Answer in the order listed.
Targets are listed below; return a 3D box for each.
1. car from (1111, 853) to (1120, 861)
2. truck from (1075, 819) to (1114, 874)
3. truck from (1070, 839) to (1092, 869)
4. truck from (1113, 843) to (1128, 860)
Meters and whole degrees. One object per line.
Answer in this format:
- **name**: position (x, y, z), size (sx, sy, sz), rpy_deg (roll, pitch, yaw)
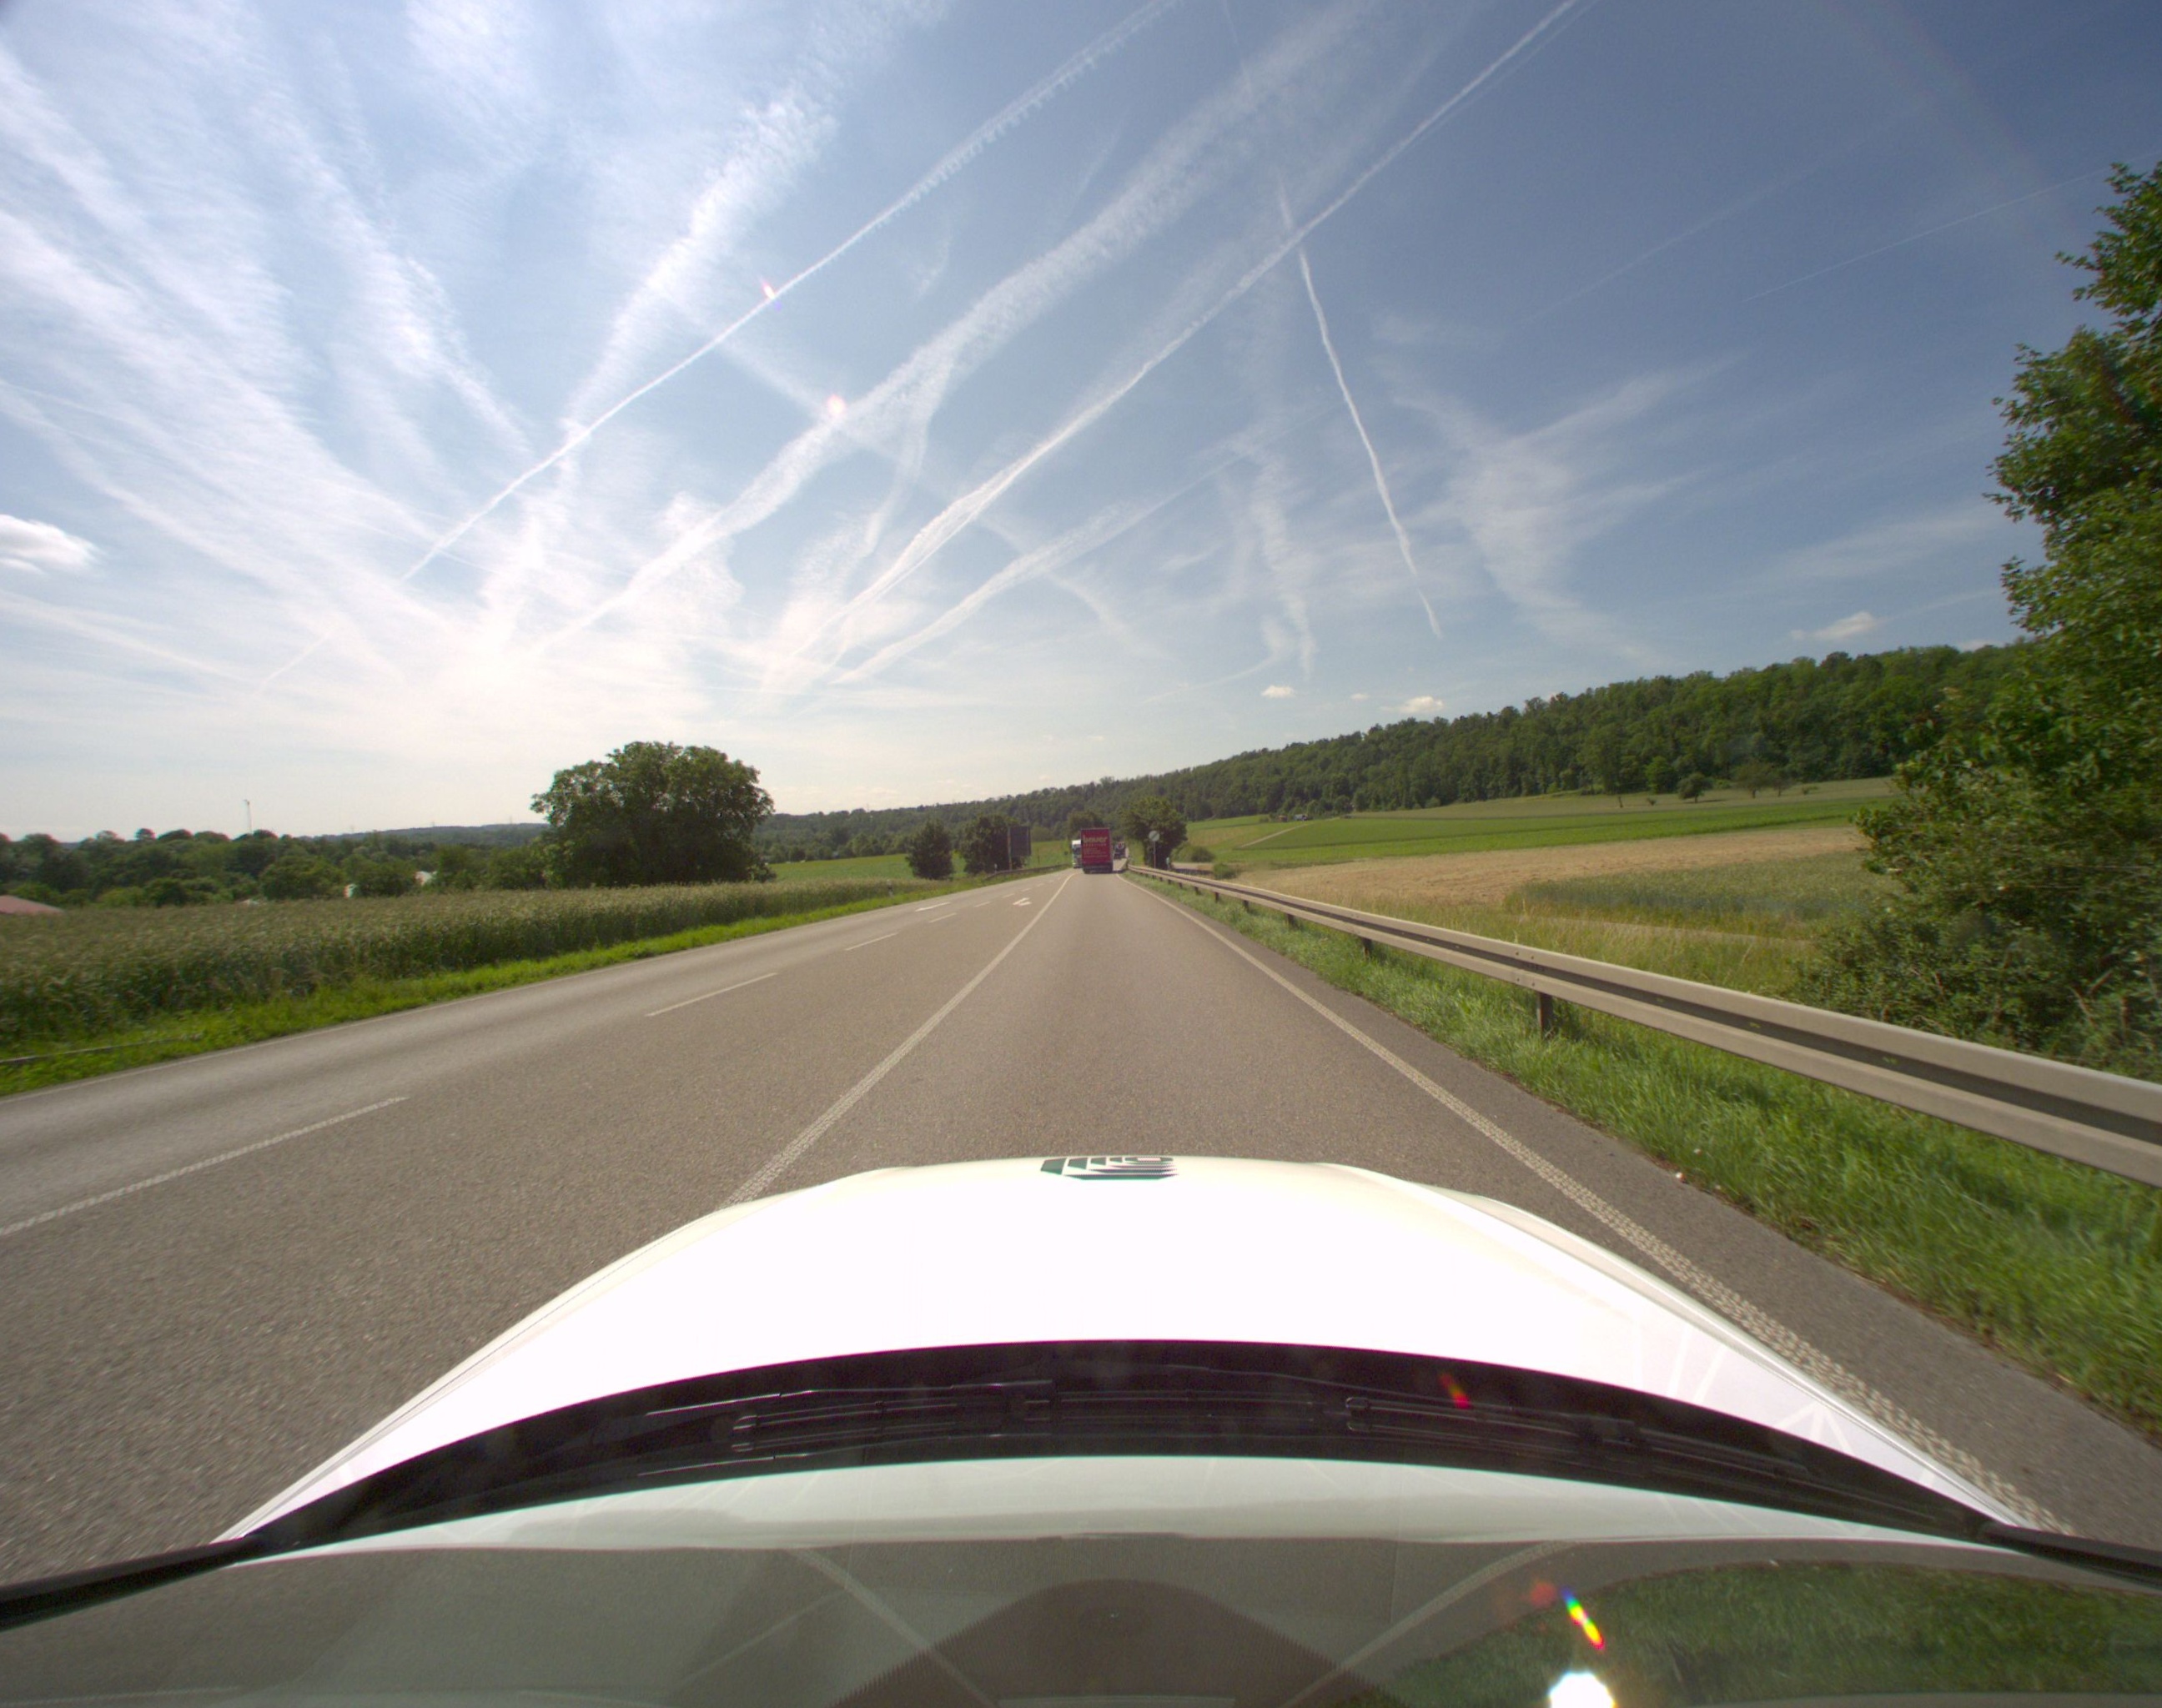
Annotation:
- **car**: position (7.909, 0.786, 186.373), size (1.986, 1.810, 4.002), rpy_deg (1, 0, 2)
- **truck**: position (1.346, -0.680, 76.969), size (3.160, 4.625, 13.548), rpy_deg (-2, 0, 2)
- **truck**: position (0.017, 0.027, 116.952), size (2.519, 4.119, 6.026), rpy_deg (-4, -1, 3)
- **truck**: position (10.462, -0.710, 217.110), size (3.889, 4.369, 13.301), rpy_deg (0, 0, 3)
